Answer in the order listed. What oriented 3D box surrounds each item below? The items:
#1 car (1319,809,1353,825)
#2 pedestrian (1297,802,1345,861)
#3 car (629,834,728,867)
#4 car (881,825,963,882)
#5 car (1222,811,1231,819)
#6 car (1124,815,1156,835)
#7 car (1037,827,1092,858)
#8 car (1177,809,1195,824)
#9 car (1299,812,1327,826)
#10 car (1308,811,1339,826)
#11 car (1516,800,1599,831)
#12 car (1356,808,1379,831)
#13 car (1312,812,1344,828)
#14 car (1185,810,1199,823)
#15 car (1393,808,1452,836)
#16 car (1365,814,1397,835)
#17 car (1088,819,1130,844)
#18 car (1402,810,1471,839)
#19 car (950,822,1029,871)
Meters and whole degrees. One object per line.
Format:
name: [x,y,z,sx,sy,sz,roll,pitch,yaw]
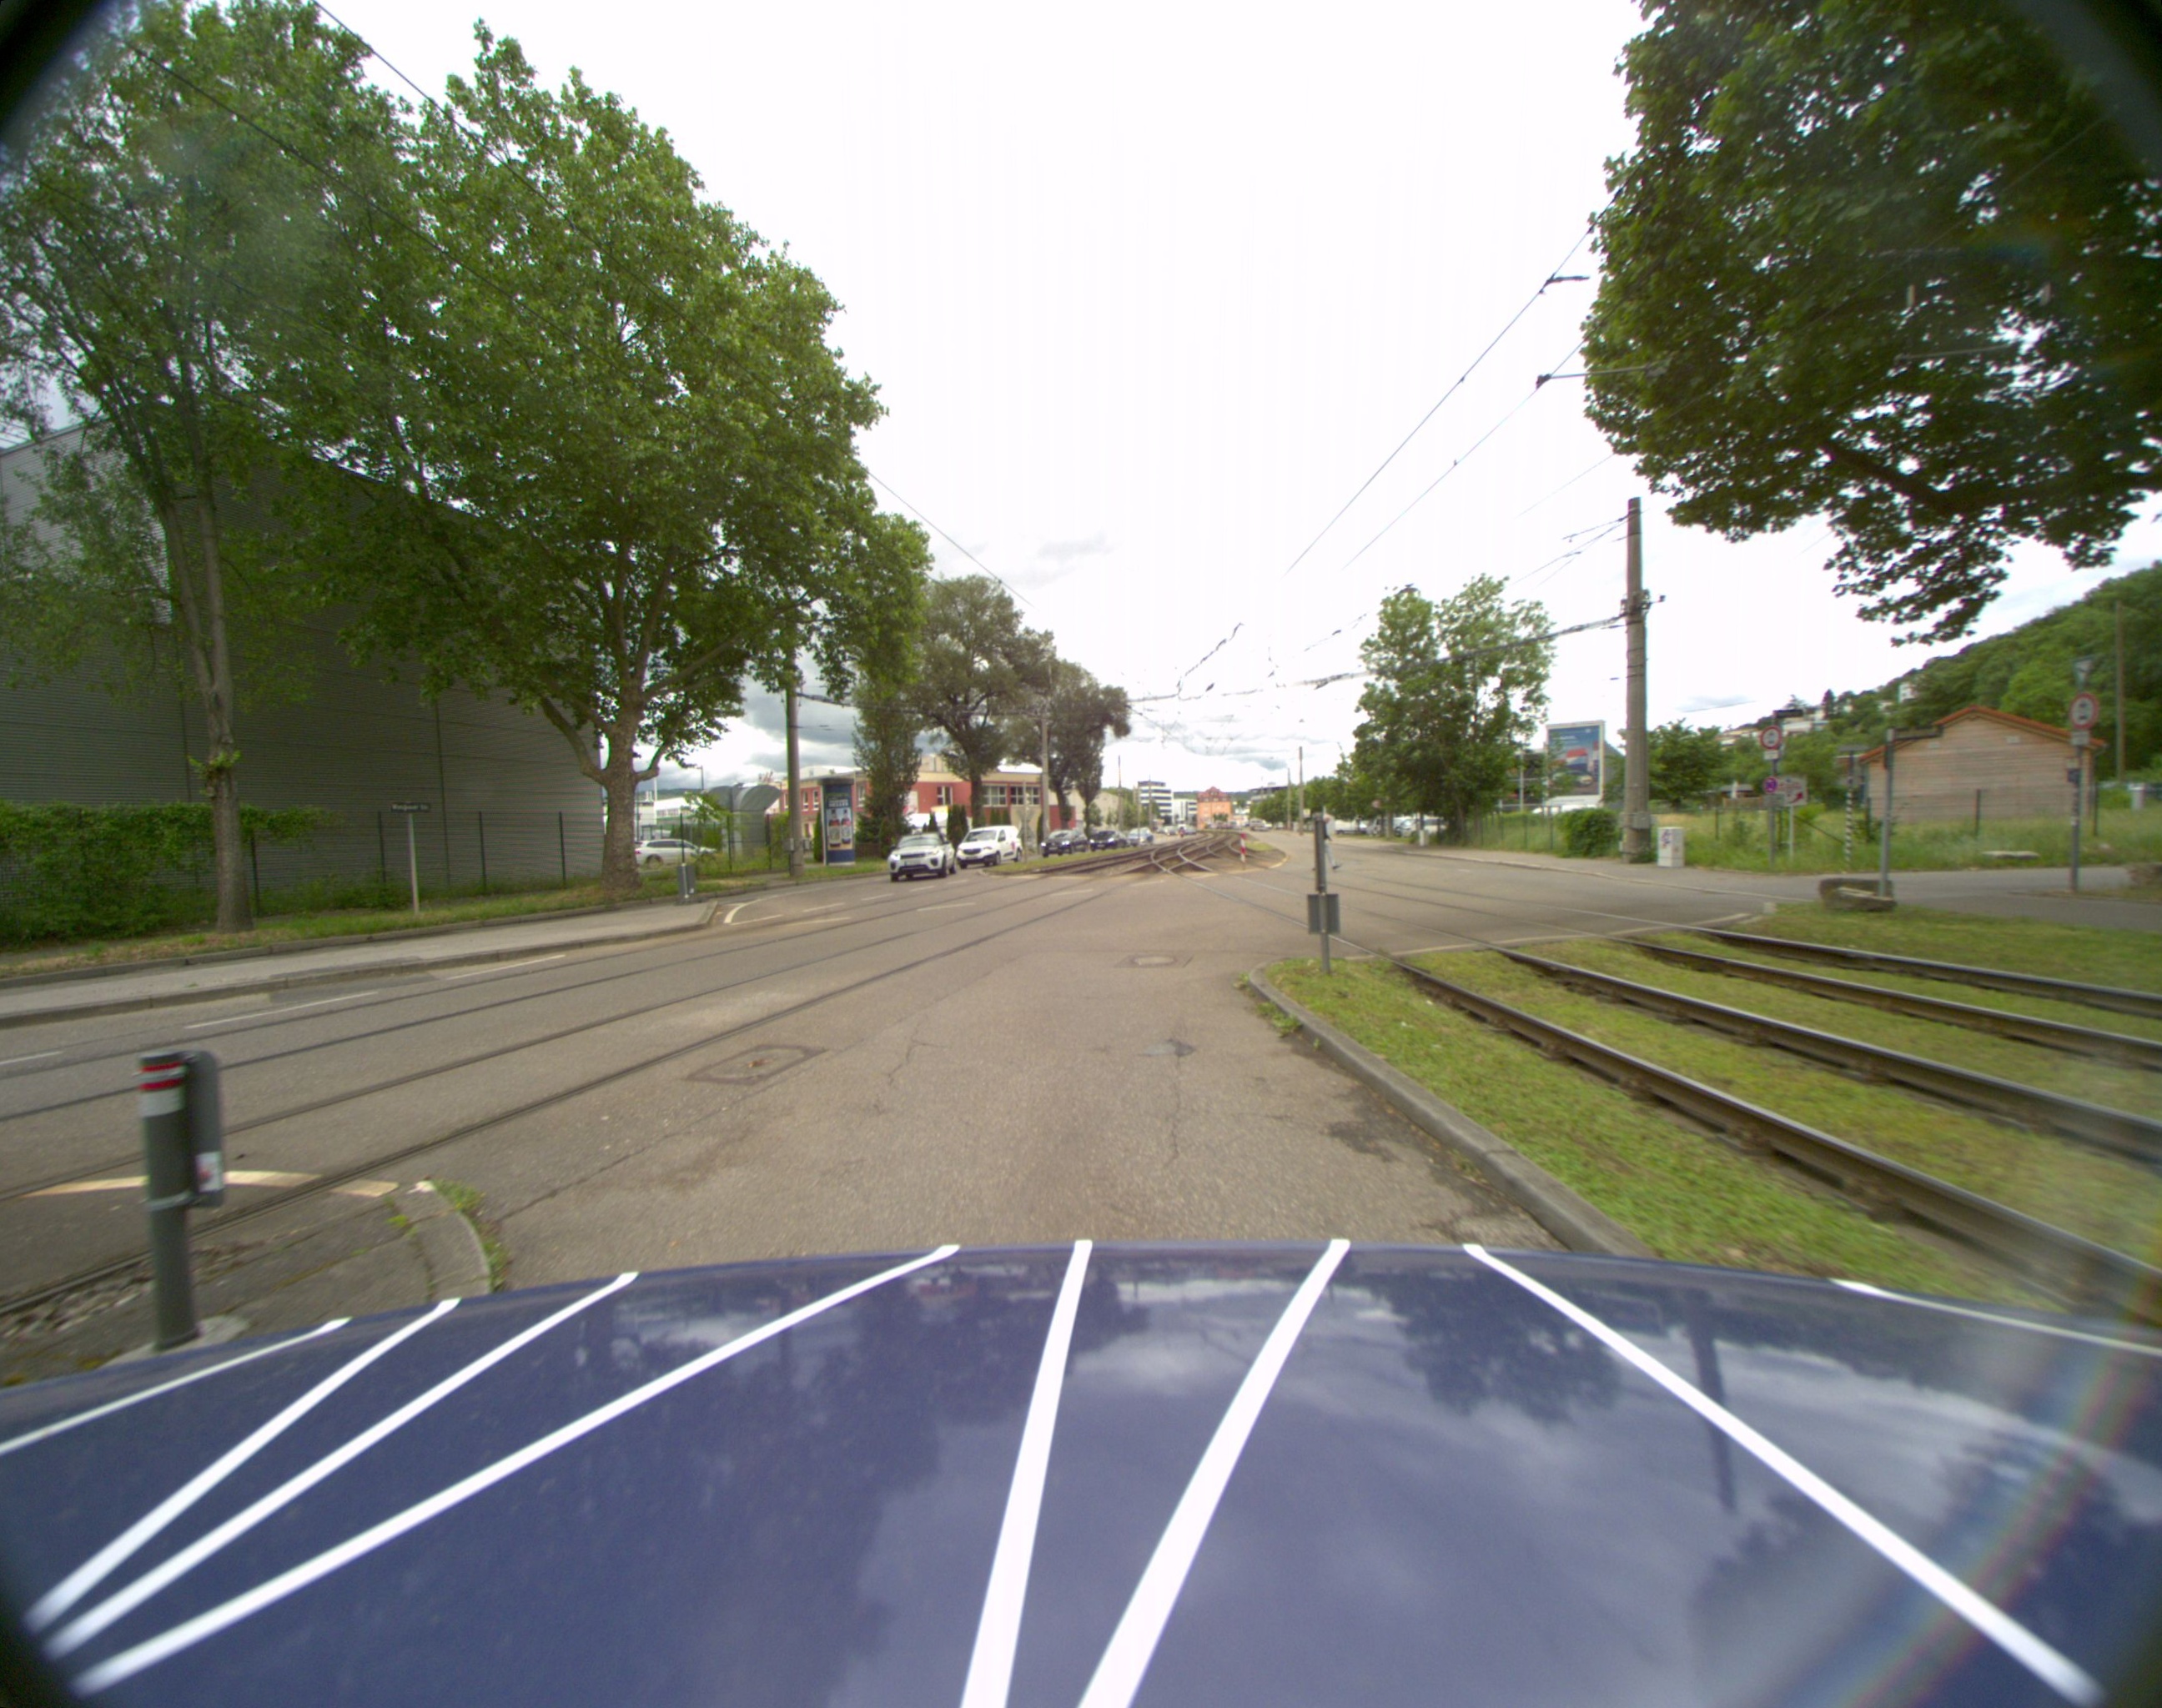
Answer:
car: [39.779,-5.780,118.648,4.633,2.197,2.109,-4,2,9]
pedestrian: [7.536,-0.700,23.869,1.122,1.750,0.811,-6,3,-29]
car: [-22.815,-0.241,43.189,1.994,1.656,4.509,1,4,44]
car: [-5.567,-0.068,27.138,1.999,1.680,4.267,-5,2,-2]
car: [38.526,-10.374,201.539,1.903,1.709,4.138,-3,4,15]
car: [5.150,-2.544,65.668,1.996,1.547,4.563,-3,3,14]
car: [-0.897,-0.730,45.005,1.996,1.547,4.563,-3,3,14]
car: [13.844,-4.914,99.922,1.867,1.740,4.002,-4,2,12]
car: [43.606,-6.567,142.929,4.633,2.197,2.109,-4,2,9]
car: [41.111,-6.054,129.015,4.633,2.197,2.109,-4,2,9]
car: [41.817,-3.384,66.763,5.837,2.255,2.056,-3,3,38]
car: [39.827,-4.831,105.638,2.317,2.995,6.162,-4,2,16]
car: [40.257,-5.554,123.838,4.633,2.197,2.109,-4,2,9]
car: [17.468,-5.876,119.079,1.867,1.740,4.002,-4,2,12]
car: [32.490,-3.051,72.465,4.768,2.255,1.981,-4,2,13]
car: [33.546,-3.341,85.111,2.139,2.104,4.777,-4,2,8]
car: [2.071,-1.671,54.649,1.996,1.547,4.563,-3,3,14]
car: [32.067,-2.668,68.762,5.263,2.255,2.001,-4,2,13]
car: [-4.144,-0.434,35.258,1.997,1.991,5.036,-2,3,12]
